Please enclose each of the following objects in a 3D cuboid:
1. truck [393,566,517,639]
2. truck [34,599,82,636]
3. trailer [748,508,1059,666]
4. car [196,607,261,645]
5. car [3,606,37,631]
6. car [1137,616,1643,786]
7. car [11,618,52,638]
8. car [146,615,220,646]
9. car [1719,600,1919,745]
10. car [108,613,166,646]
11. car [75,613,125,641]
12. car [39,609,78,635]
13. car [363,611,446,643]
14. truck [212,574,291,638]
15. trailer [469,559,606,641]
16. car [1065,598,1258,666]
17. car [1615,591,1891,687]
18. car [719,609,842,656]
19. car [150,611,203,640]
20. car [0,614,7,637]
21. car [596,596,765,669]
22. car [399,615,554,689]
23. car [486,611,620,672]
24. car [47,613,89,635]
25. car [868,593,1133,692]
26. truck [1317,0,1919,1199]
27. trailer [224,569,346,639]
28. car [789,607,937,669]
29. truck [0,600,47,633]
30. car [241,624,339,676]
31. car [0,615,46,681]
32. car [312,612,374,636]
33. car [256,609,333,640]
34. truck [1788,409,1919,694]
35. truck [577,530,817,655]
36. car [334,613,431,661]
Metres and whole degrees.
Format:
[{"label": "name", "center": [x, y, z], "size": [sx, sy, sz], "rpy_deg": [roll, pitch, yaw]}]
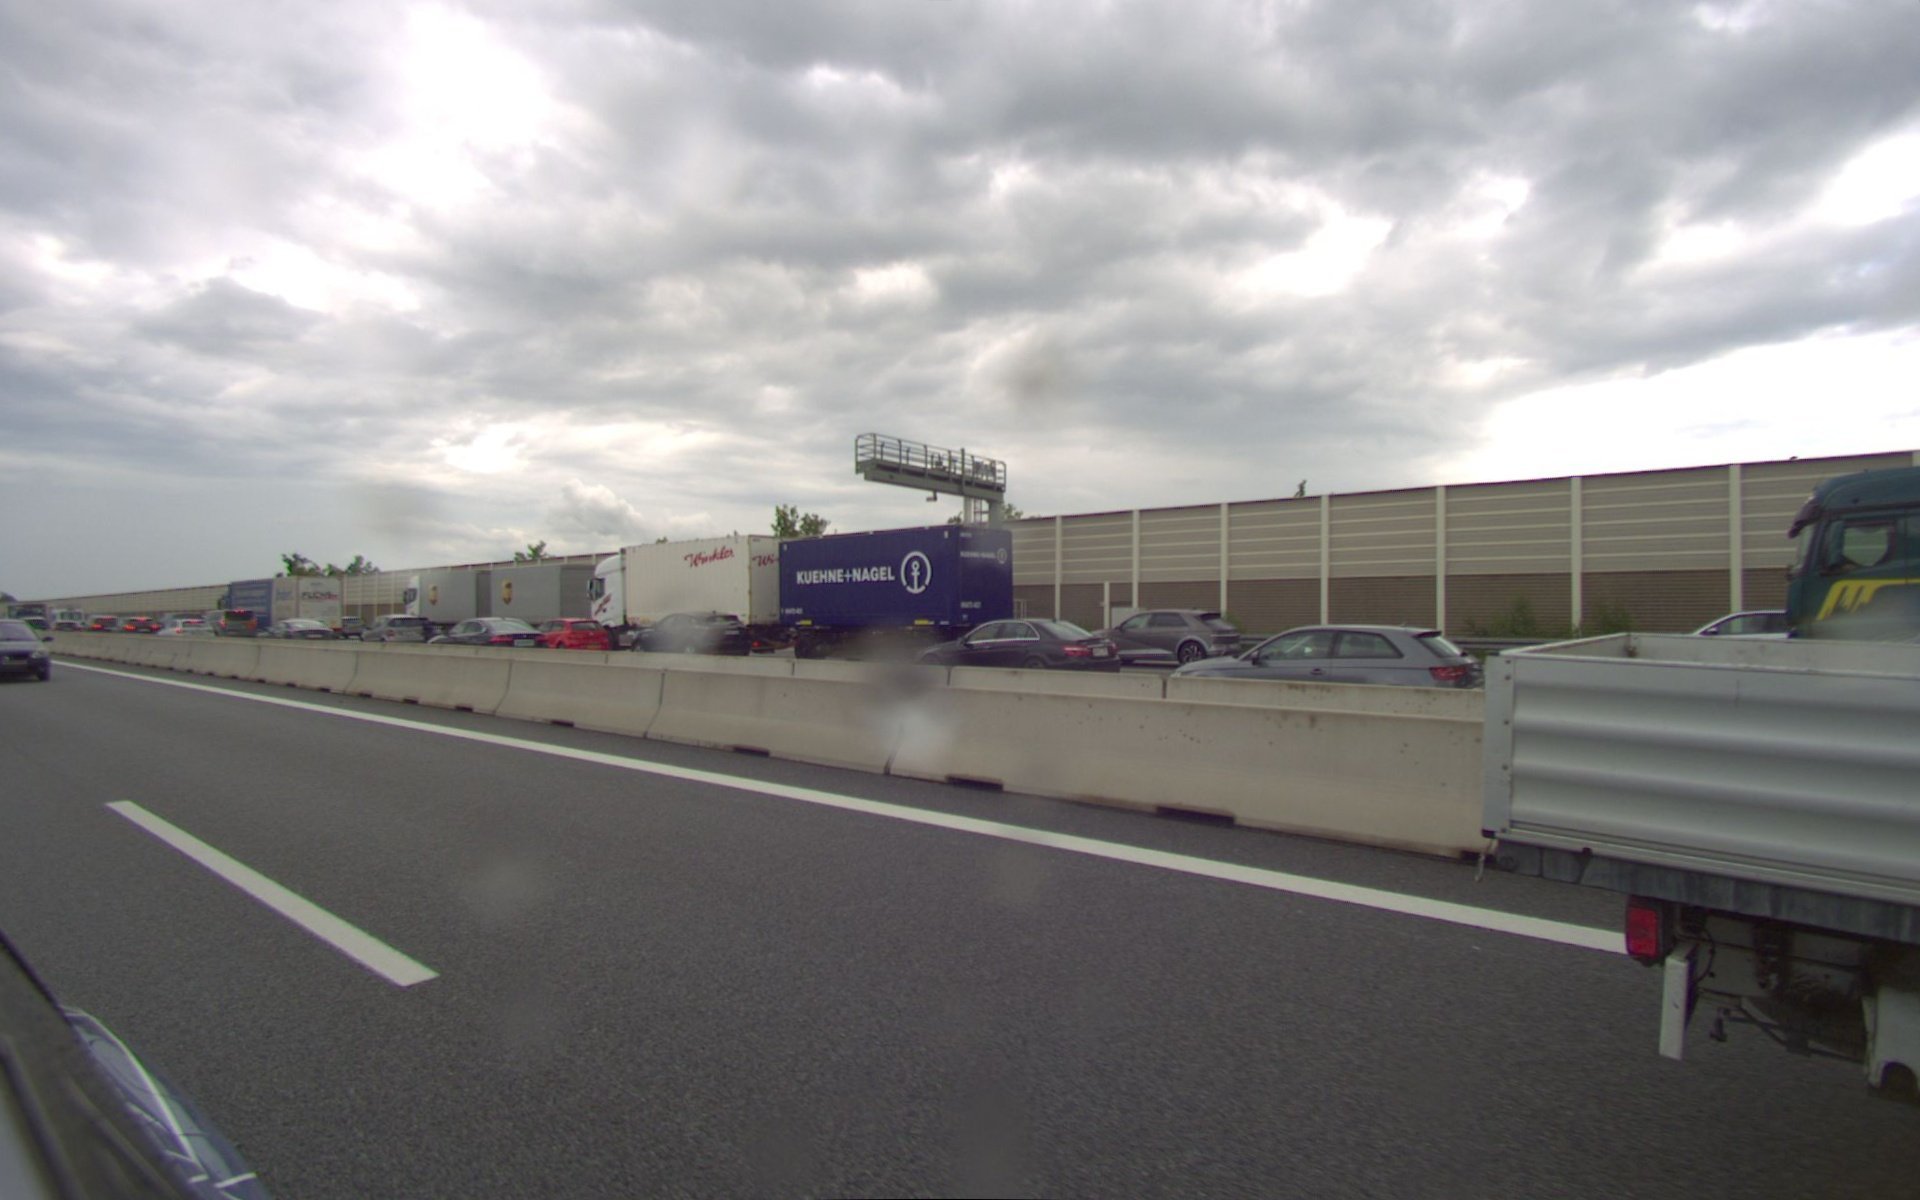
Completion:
[{"label": "truck", "center": [-29.375, 0.199, 58.566], "size": [10.494, 3.928, 2.659], "rpy_deg": [-1, -1, 41]}, {"label": "truck", "center": [-123.370, 2.331, 138.346], "size": [11.687, 4.894, 3.185], "rpy_deg": [-1, -1, 40]}, {"label": "trailer", "center": [-2.024, -0.265, 30.009], "size": [10.116, 3.969, 2.900], "rpy_deg": [-1, -1, 42]}, {"label": "car", "center": [-44.480, 1.553, 61.497], "size": [5.430, 2.175, 2.039], "rpy_deg": [-1, -1, 41]}, {"label": "car", "center": [-106.861, 2.048, 114.998], "size": [4.926, 2.770, 2.107], "rpy_deg": [-1, -1, 38]}, {"label": "car", "center": [5.390, 1.114, 13.342], "size": [5.803, 1.768, 2.040], "rpy_deg": [-1, -1, 40]}, {"label": "car", "center": [-80.839, 2.407, 88.093], "size": [4.690, 1.644, 1.901], "rpy_deg": [-1, -1, 38]}, {"label": "car", "center": [-41.552, 1.585, 54.076], "size": [5.805, 1.576, 2.039], "rpy_deg": [-1, -1, 41]}, {"label": "car", "center": [12.255, 0.855, 12.574], "size": [4.407, 1.712, 2.040], "rpy_deg": [-1, -1, 40]}, {"label": "car", "center": [-51.193, 1.809, 62.891], "size": [5.430, 1.911, 1.913], "rpy_deg": [-1, -1, 41]}, {"label": "car", "center": [-60.665, 1.882, 71.367], "size": [5.423, 1.905, 1.899], "rpy_deg": [-1, -1, 41]}, {"label": "car", "center": [-87.122, 2.131, 97.806], "size": [5.142, 2.492, 2.006], "rpy_deg": [-1, -1, 38]}, {"label": "car", "center": [-29.775, 1.432, 54.186], "size": [5.805, 1.612, 2.039], "rpy_deg": [-1, -1, 41]}, {"label": "truck", "center": [-49.921, 0.422, 71.225], "size": [6.688, 4.277, 3.039], "rpy_deg": [-1, -1, 41]}, {"label": "trailer", "center": [-21.907, 0.059, 52.145], "size": [9.278, 3.901, 2.693], "rpy_deg": [-1, -1, 41]}, {"label": "car", "center": [5.580, 0.860, 28.437], "size": [4.954, 1.736, 2.040], "rpy_deg": [-1, -1, 40]}, {"label": "car", "center": [15.892, 0.731, 20.479], "size": [4.208, 1.736, 2.040], "rpy_deg": [-1, -1, 40]}, {"label": "car", "center": [-7.834, 1.380, 43.888], "size": [5.803, 1.907, 2.040], "rpy_deg": [-1, -1, 40]}, {"label": "car", "center": [-54.244, 1.718, 70.013], "size": [5.430, 1.911, 1.913], "rpy_deg": [-1, -1, 41]}, {"label": "car", "center": [-117.433, 3.093, 122.646], "size": [4.926, 2.770, 2.107], "rpy_deg": [-1, -1, 38]}, {"label": "car", "center": [-8.600, 0.933, 30.787], "size": [5.803, 2.017, 2.040], "rpy_deg": [-1, -1, 40]}, {"label": "car", "center": [-14.641, 1.483, 30.449], "size": [5.803, 2.017, 2.040], "rpy_deg": [-1, -1, 40]}, {"label": "car", "center": [-14.732, 1.436, 36.433], "size": [5.803, 2.017, 2.040], "rpy_deg": [-1, -1, 40]}, {"label": "car", "center": [-69.748, 1.878, 79.118], "size": [4.205, 1.644, 1.794], "rpy_deg": [-1, -1, 39]}, {"label": "car", "center": [0.740, 0.857, 22.236], "size": [5.803, 1.907, 2.040], "rpy_deg": [-1, -1, 40]}, {"label": "truck", "center": [4.288, 0.156, 0.918], "size": [7.144, 2.458, 2.283], "rpy_deg": [-1, 0, 41]}, {"label": "trailer", "center": [-44.671, 0.345, 66.661], "size": [14.308, 4.192, 3.027], "rpy_deg": [-1, -1, 41]}, {"label": "car", "center": [-3.474, 1.276, 35.505], "size": [5.293, 2.017, 2.040], "rpy_deg": [-1, -1, 40]}, {"label": "truck", "center": [-145.498, 2.603, 156.969], "size": [17.213, 4.894, 3.405], "rpy_deg": [-1, -1, 40]}, {"label": "car", "center": [-28.518, 2.044, 42.991], "size": [5.804, 2.017, 2.039], "rpy_deg": [-1, -1, 41]}, {"label": "car", "center": [-22.330, 1.065, 23.265], "size": [3.999, 1.413, 1.558], "rpy_deg": [-1, 0, 42]}, {"label": "car", "center": [-42.670, 1.645, 69.904], "size": [5.805, 1.612, 2.039], "rpy_deg": [-1, -1, 41]}, {"label": "car", "center": [-36.155, 1.297, 54.933], "size": [5.805, 1.612, 2.039], "rpy_deg": [-1, -1, 41]}, {"label": "truck", "center": [15.686, -0.707, 14.589], "size": [5.723, 4.065, 2.716], "rpy_deg": [-1, 0, 41]}, {"label": "truck", "center": [-9.953, -0.171, 37.085], "size": [11.063, 3.975, 2.906], "rpy_deg": [-1, -1, 42]}, {"label": "car", "center": [-26.061, 1.622, 45.589], "size": [5.805, 2.017, 2.039], "rpy_deg": [-1, -1, 41]}]
